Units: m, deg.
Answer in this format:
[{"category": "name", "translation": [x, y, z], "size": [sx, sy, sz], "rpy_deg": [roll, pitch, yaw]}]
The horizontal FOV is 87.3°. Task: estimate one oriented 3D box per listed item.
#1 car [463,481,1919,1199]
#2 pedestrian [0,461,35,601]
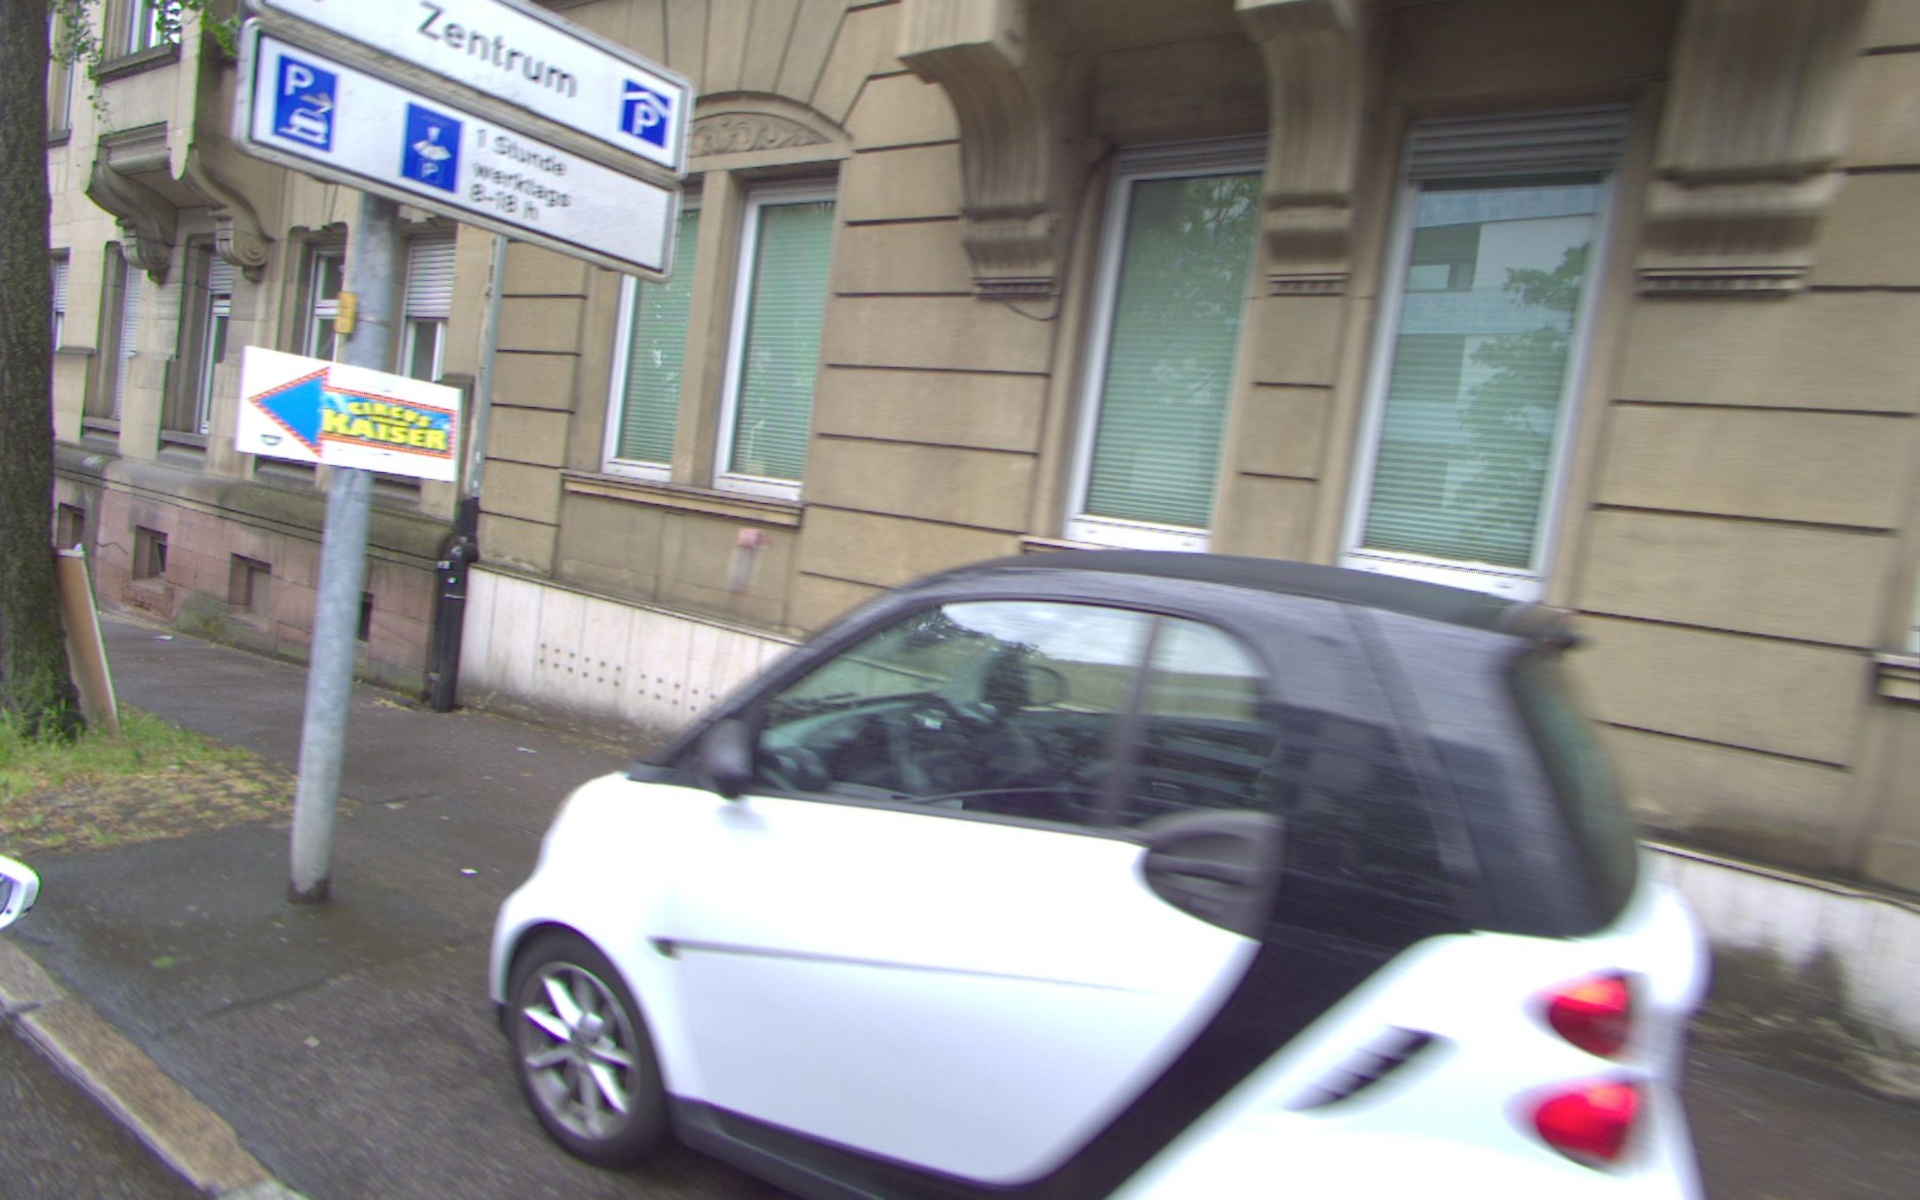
[{"category": "car", "translation": [0.333, 0.631, 2.329], "size": [2.927, 1.565, 1.298], "rpy_deg": [7, 6, 32]}, {"category": "pedestrian", "translation": [-10.803, -0.781, 11.169], "size": [0.682, 1.530, 0.630], "rpy_deg": [7, 6, 31]}]
